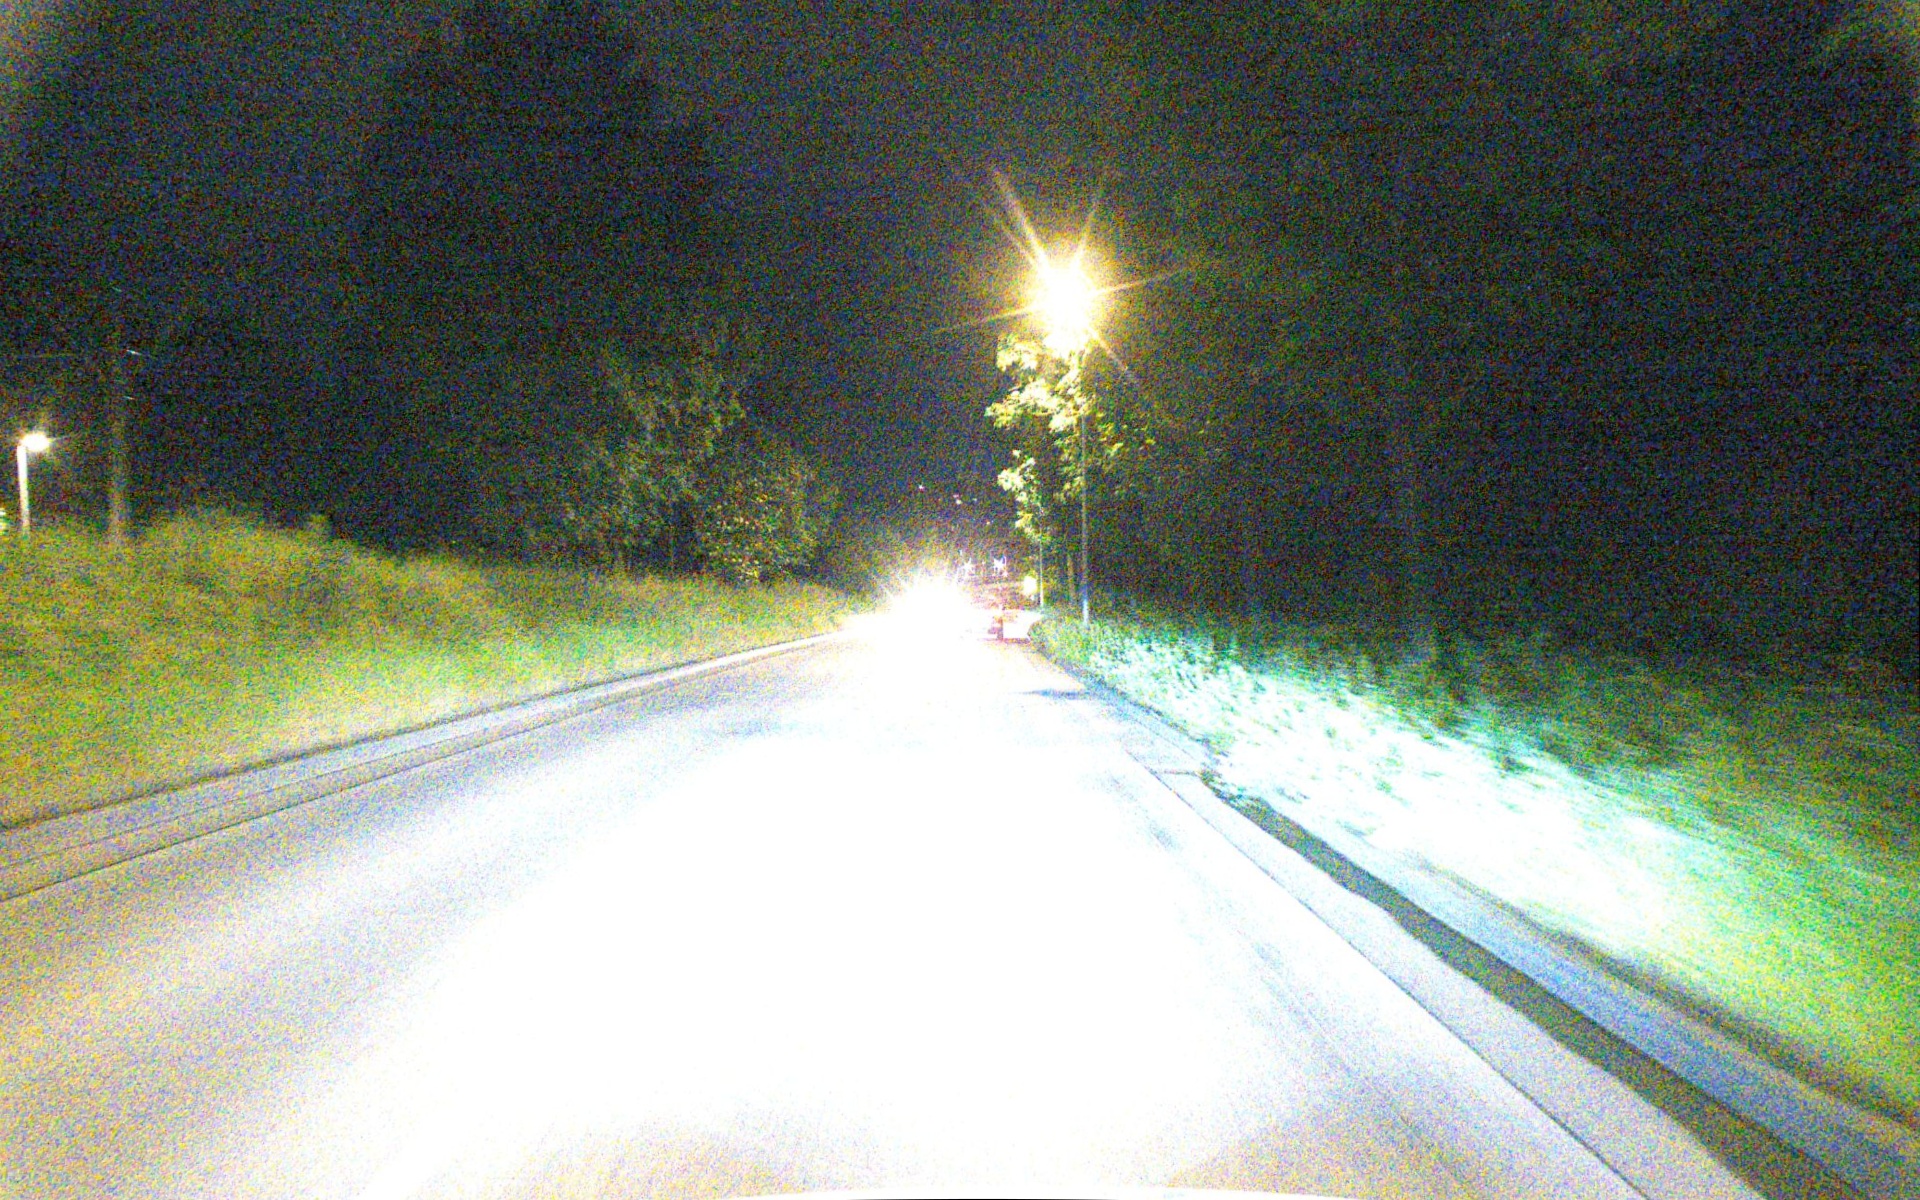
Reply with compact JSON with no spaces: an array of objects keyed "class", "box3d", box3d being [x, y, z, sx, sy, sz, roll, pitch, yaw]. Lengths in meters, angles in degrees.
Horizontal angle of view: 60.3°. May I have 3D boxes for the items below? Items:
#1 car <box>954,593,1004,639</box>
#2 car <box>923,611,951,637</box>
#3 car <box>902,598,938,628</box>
[{"class":"car","box3d":[0.680,0.593,62.301,1.727,1.670,3.721,0,0,-2]},{"class":"car","box3d":[-1.380,1.417,99.779,1.613,1.517,3.557,0,0,-1]},{"class":"car","box3d":[-1.992,0.640,83.395,1.652,1.483,4.000,0,0,1]}]
